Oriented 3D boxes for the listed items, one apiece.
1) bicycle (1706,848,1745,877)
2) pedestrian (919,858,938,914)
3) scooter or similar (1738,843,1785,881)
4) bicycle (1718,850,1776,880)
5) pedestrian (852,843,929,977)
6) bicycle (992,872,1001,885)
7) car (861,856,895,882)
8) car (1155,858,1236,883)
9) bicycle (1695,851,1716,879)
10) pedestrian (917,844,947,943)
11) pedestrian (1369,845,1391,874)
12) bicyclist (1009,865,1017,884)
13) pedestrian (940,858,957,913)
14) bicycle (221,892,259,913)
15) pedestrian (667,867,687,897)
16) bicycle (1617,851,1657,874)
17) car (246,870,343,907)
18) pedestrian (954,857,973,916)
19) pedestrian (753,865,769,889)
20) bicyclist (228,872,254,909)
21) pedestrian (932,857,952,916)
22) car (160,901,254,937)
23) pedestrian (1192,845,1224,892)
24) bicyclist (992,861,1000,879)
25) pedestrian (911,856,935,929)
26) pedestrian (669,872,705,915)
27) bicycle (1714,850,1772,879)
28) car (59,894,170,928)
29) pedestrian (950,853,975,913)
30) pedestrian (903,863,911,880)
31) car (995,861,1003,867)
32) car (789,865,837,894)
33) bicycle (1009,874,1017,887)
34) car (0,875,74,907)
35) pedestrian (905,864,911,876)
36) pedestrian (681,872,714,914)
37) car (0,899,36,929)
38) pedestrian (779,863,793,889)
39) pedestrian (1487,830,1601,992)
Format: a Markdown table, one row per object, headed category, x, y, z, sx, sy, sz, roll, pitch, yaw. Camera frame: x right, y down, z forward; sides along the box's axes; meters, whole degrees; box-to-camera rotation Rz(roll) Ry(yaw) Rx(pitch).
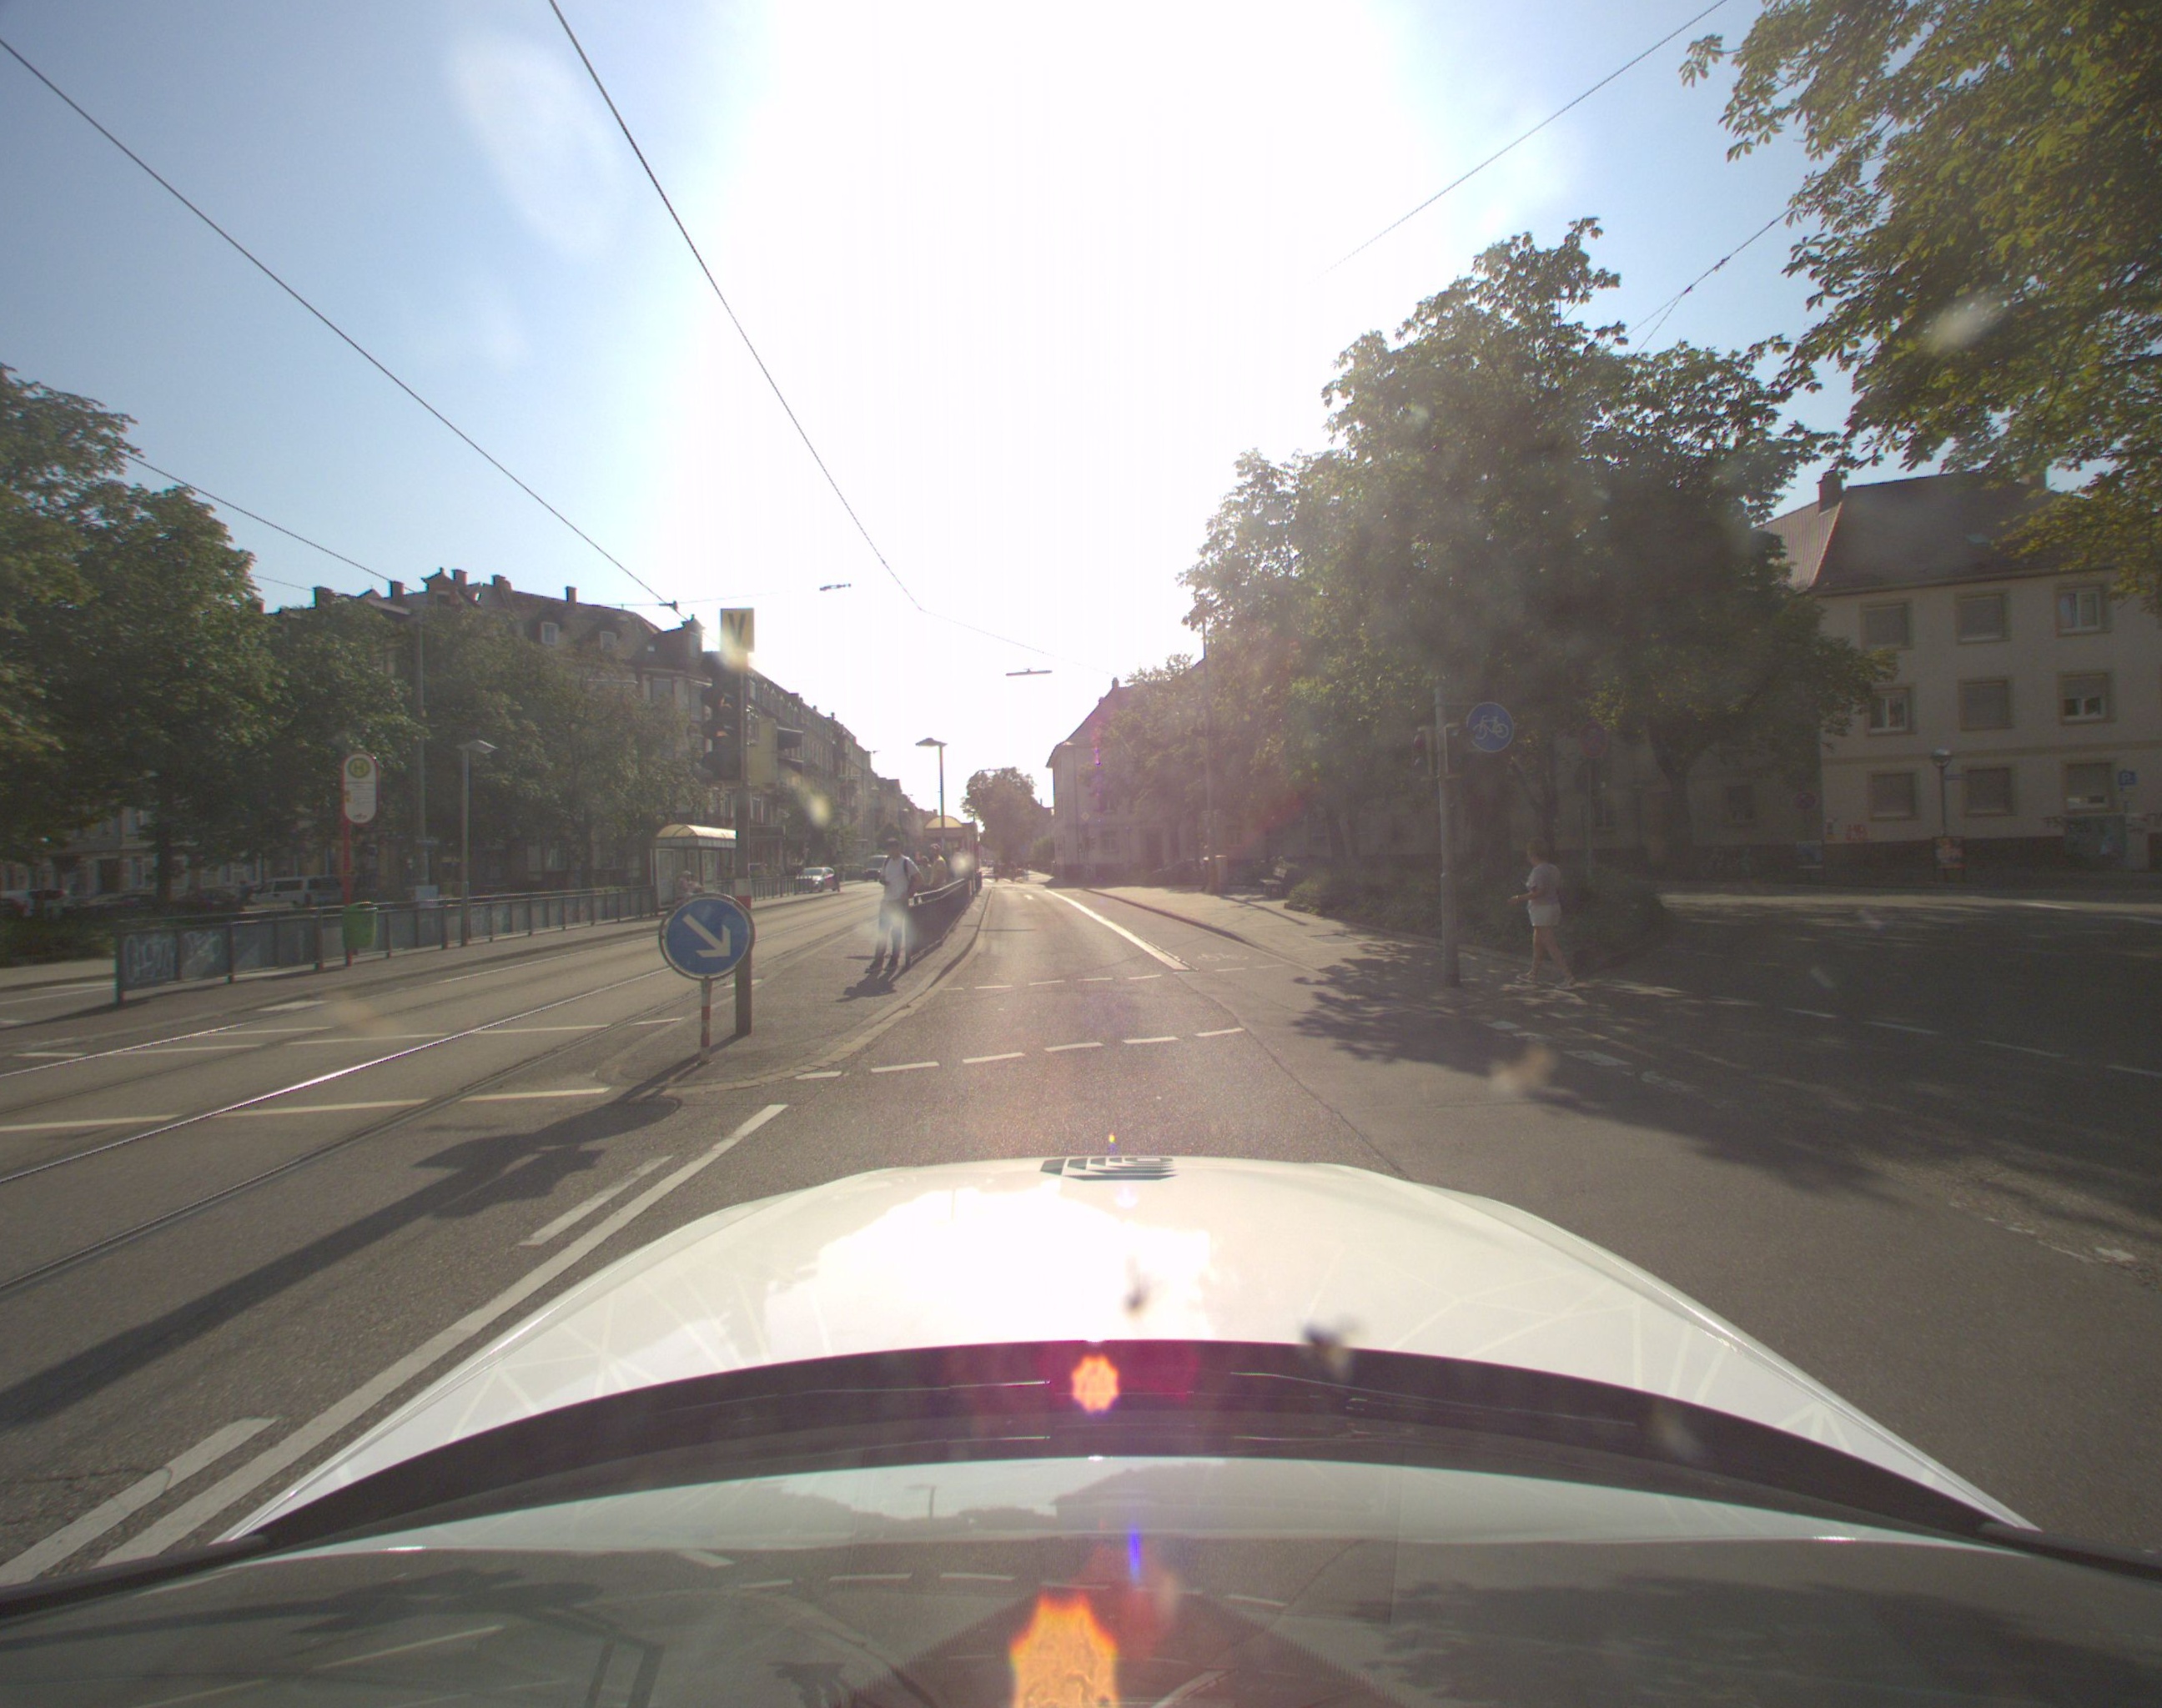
| category | x | y | z | sx | sy | sz | roll | pitch | yaw |
| --- | --- | --- | --- | --- | --- | --- | --- | --- | --- |
| bicycle | 23.797 | 0.311 | 30.060 | 1.558 | 1.039 | 0.422 | -2 | -1 | -24 |
| pedestrian | -4.905 | 1.024 | 26.157 | 0.531 | 1.759 | 0.544 | 1 | 1 | -4 |
| scooter or similar | 23.204 | 0.281 | 27.788 | 1.059 | 1.197 | 0.462 | -6 | -1 | 27 |
| bicycle | 23.134 | 0.379 | 28.308 | 1.541 | 0.978 | 0.427 | -2 | -1 | 9 |
| pedestrian | -2.599 | 0.726 | 11.136 | 0.693 | 1.725 | 0.752 | 1 | 2 | 27 |
| bicycle | -7.045 | 2.028 | 67.806 | 0.628 | 0.978 | 1.766 | -2 | 0 | -7 |
| car | -21.239 | 1.557 | 85.574 | 2.341 | 2.662 | 5.101 | -2 | -1 | -1 |
| car | 6.832 | 0.993 | 48.757 | 4.280 | 1.320 | 2.013 | -2 | -1 | 33 |
| bicycle | 22.885 | 0.405 | 29.854 | 0.420 | 0.978 | 1.566 | -2 | -1 | 32 |
| pedestrian | -2.810 | 0.730 | 15.394 | 0.503 | 1.834 | 0.533 | 1 | 1 | -5 |
| pedestrian | 18.455 | 0.359 | 50.254 | 0.779 | 1.740 | 0.884 | -1 | -1 | -34 |
| bicyclist | -5.412 | 1.607 | 64.471 | 0.557 | 1.417 | 0.869 | -2 | -1 | -7 |
| pedestrian | -4.347 | 1.027 | 26.793 | 0.503 | 1.759 | 0.533 | 1 | 1 | -5 |
| bicycle | -42.906 | 2.473 | 41.560 | 1.921 | 0.978 | 0.499 | -2 | -1 | 17 |
| pedestrian | -23.813 | 1.665 | 47.992 | 0.748 | 1.731 | 0.770 | -2 | -1 | -3 |
| bicycle | 23.683 | 0.359 | 34.719 | 0.424 | 0.978 | 1.551 | -2 | 0 | -8 |
| car | -42.644 | 1.884 | 44.189 | 3.956 | 1.828 | 2.009 | -2 | -1 | 16 |
| pedestrian | -3.584 | 0.991 | 24.860 | 0.503 | 1.759 | 0.533 | 1 | 1 | -5 |
| pedestrian | -23.743 | 1.732 | 60.410 | 0.742 | 1.731 | 0.776 | -2 | -1 | 35 |
| bicyclist | -42.870 | 1.864 | 41.559 | 0.978 | 1.857 | 0.495 | -2 | -1 | 17 |
| pedestrian | -4.222 | 0.996 | 24.801 | 0.542 | 1.759 | 0.533 | 1 | 1 | -5 |
| car | -49.697 | 3.686 | 46.324 | 3.956 | 1.828 | 2.009 | -2 | -1 | 16 |
| pedestrian | 4.815 | 0.547 | 30.892 | 0.882 | 1.740 | 0.781 | -2 | -1 | 35 |
| bicyclist | -7.064 | 1.319 | 67.812 | 0.628 | 1.507 | 0.677 | -2 | -1 | -7 |
| pedestrian | -3.870 | 0.930 | 20.004 | 0.503 | 1.759 | 0.533 | 1 | 1 | -5 |
| pedestrian | -12.956 | 1.295 | 26.795 | 0.828 | 1.359 | 0.773 | -2 | -1 | -10 |
| bicycle | 23.271 | 0.365 | 28.625 | 1.541 | 0.978 | 0.427 | -2 | -1 | 9 |
| car | -51.319 | 3.011 | 43.262 | 4.292 | 1.569 | 2.007 | -2 | -1 | 13 |
| pedestrian | -3.521 | 0.856 | 24.248 | 0.708 | 1.759 | 0.533 | 1 | 1 | -6 |
| pedestrian | -19.071 | 1.911 | 89.227 | 0.751 | 1.731 | 0.768 | -2 | -1 | -14 |
| car | -24.286 | 3.016 | 241.572 | 1.986 | 1.783 | 4.001 | -1 | -1 | 2 |
| car | -16.731 | 1.560 | 51.025 | 1.796 | 1.653 | 3.640 | -2 | -1 | -1 |
| bicycle | -5.388 | 2.070 | 64.453 | 0.557 | 0.978 | 1.852 | -2 | 0 | -7 |
| car | -65.470 | 2.328 | 50.448 | 3.965 | 1.828 | 2.004 | -2 | -1 | 7 |
| pedestrian | -24.359 | 2.226 | 114.880 | 0.751 | 1.731 | 0.768 | -2 | -1 | -14 |
| pedestrian | -13.066 | 1.310 | 27.763 | 0.828 | 1.359 | 0.773 | -2 | -1 | -10 |
| car | -60.817 | 3.363 | 45.191 | 4.289 | 1.569 | 2.009 | -2 | -1 | 16 |
| pedestrian | -19.629 | 1.450 | 54.286 | 0.751 | 1.731 | 0.768 | -2 | -1 | -14 |
| pedestrian | 5.251 | 0.620 | 9.274 | 0.751 | 1.731 | 0.768 | -2 | -1 | -14 |
